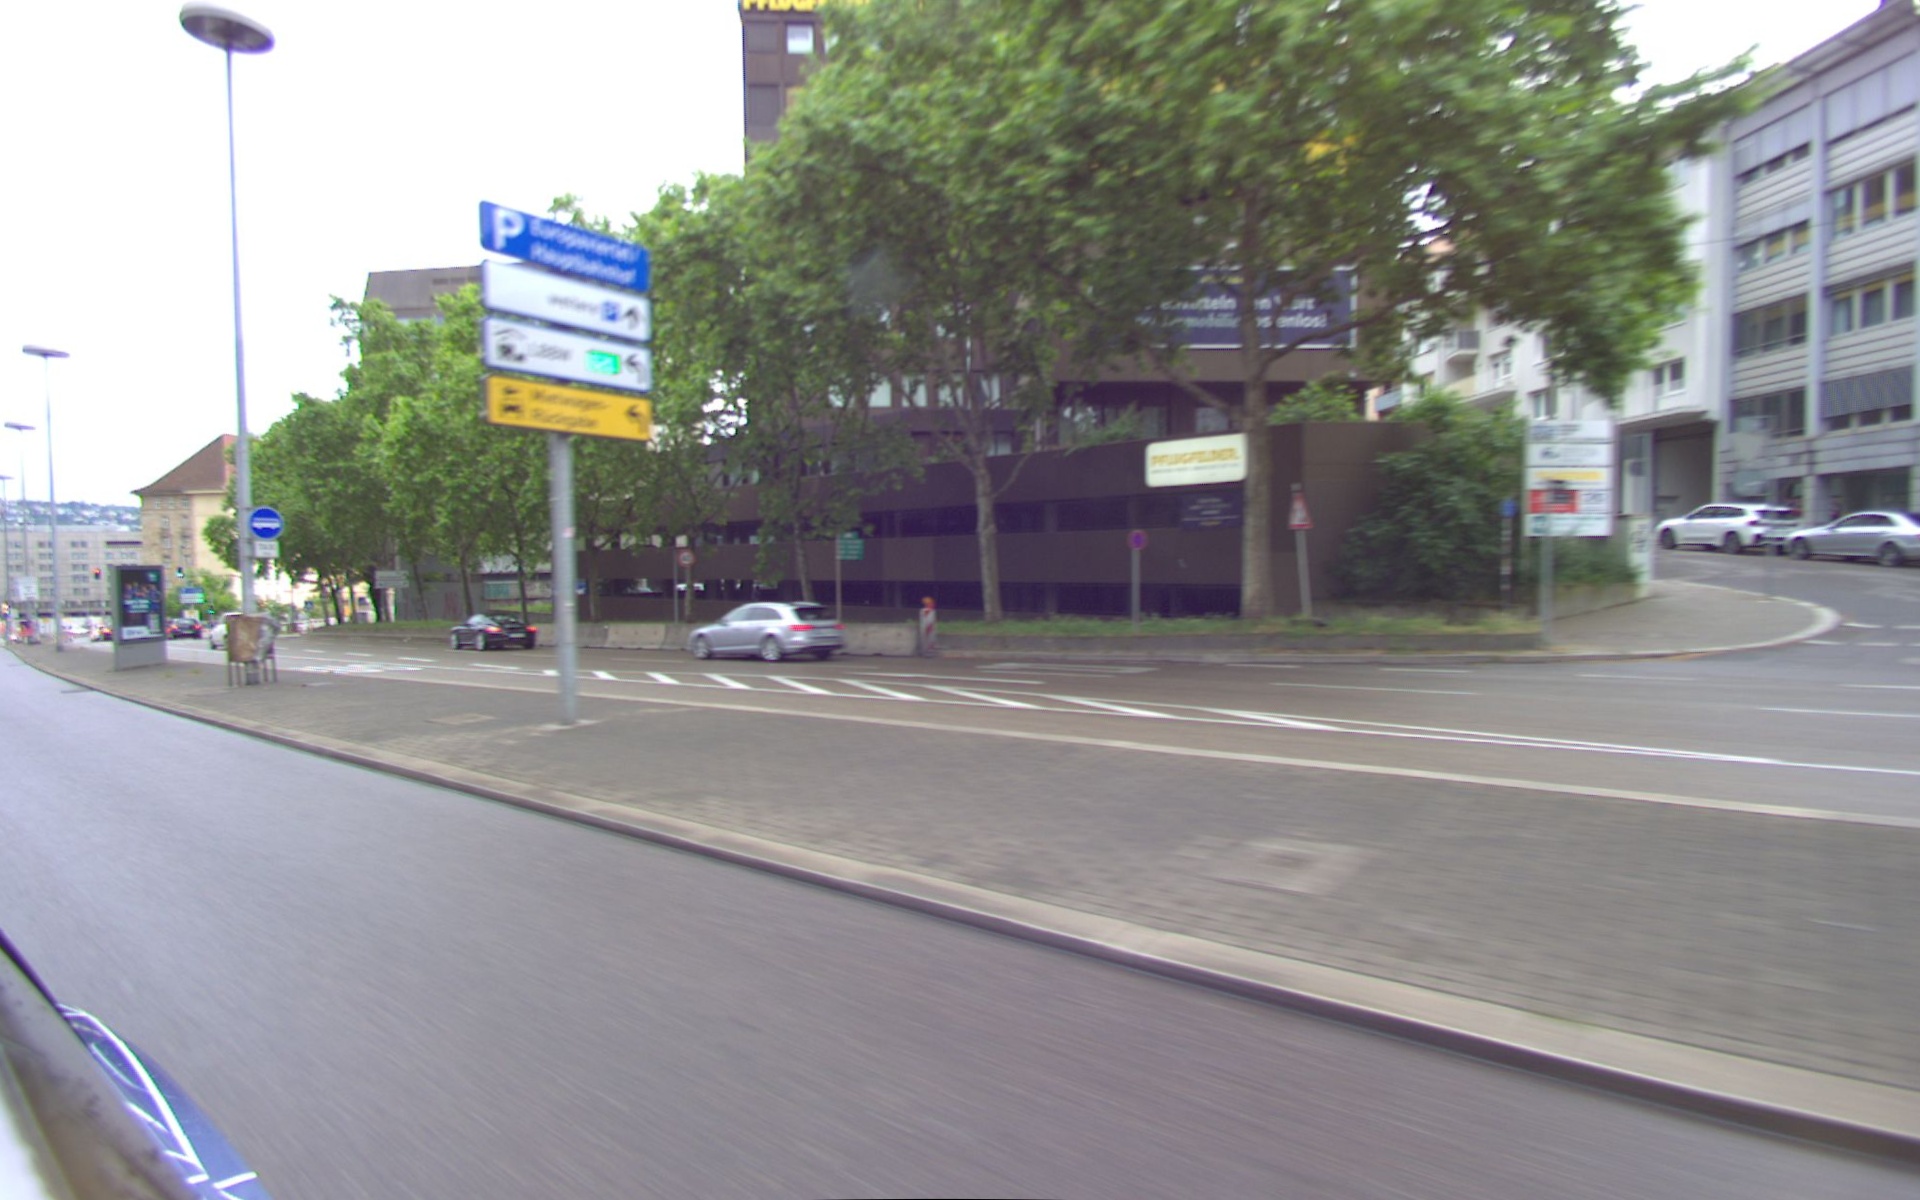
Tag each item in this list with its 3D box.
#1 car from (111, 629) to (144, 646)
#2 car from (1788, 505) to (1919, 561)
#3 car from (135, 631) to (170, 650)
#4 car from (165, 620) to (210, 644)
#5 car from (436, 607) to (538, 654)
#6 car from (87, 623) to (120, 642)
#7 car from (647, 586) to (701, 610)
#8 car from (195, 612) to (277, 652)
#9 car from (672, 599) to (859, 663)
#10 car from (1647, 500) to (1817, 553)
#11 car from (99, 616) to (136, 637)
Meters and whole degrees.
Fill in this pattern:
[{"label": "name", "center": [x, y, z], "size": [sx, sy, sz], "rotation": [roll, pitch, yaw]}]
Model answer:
[{"label": "car", "center": [-75.738, 3.419, 92.025], "size": [1.911, 1.447, 4.509], "rotation": [-1, -1, -45]}, {"label": "car", "center": [25.834, -1.870, 27.985], "size": [1.970, 1.476, 4.493], "rotation": [-3, 3, -4]}, {"label": "car", "center": [-65.371, 3.243, 81.911], "size": [1.910, 1.447, 4.080], "rotation": [-1, -1, -43]}, {"label": "car", "center": [-53.810, 2.238, 70.444], "size": [4.174, 1.511, 1.912], "rotation": [-3, -1, 44]}, {"label": "car", "center": [-16.507, 1.042, 35.235], "size": [4.169, 1.530, 1.735], "rotation": [-1, 0, 42]}, {"label": "car", "center": [-69.784, 2.626, 82.452], "size": [1.773, 1.497, 3.866], "rotation": [0, 0, -45]}, {"label": "car", "center": [-22.692, -0.147, 80.189], "size": [3.931, 1.730, 2.006], "rotation": [-2, 0, -20]}, {"label": "car", "center": [-29.615, 1.296, 41.374], "size": [3.735, 1.530, 1.737], "rotation": [-1, 0, 38]}, {"label": "car", "center": [-4.960, 0.746, 25.423], "size": [4.877, 1.458, 1.974], "rotation": [-1, 0, 40]}, {"label": "car", "center": [25.496, -2.399, 33.662], "size": [1.970, 1.586, 4.493], "rotation": [-3, 3, -4]}, {"label": "car", "center": [-64.821, 2.029, 77.848], "size": [3.866, 1.497, 1.774], "rotation": [-1, 1, 45]}]
